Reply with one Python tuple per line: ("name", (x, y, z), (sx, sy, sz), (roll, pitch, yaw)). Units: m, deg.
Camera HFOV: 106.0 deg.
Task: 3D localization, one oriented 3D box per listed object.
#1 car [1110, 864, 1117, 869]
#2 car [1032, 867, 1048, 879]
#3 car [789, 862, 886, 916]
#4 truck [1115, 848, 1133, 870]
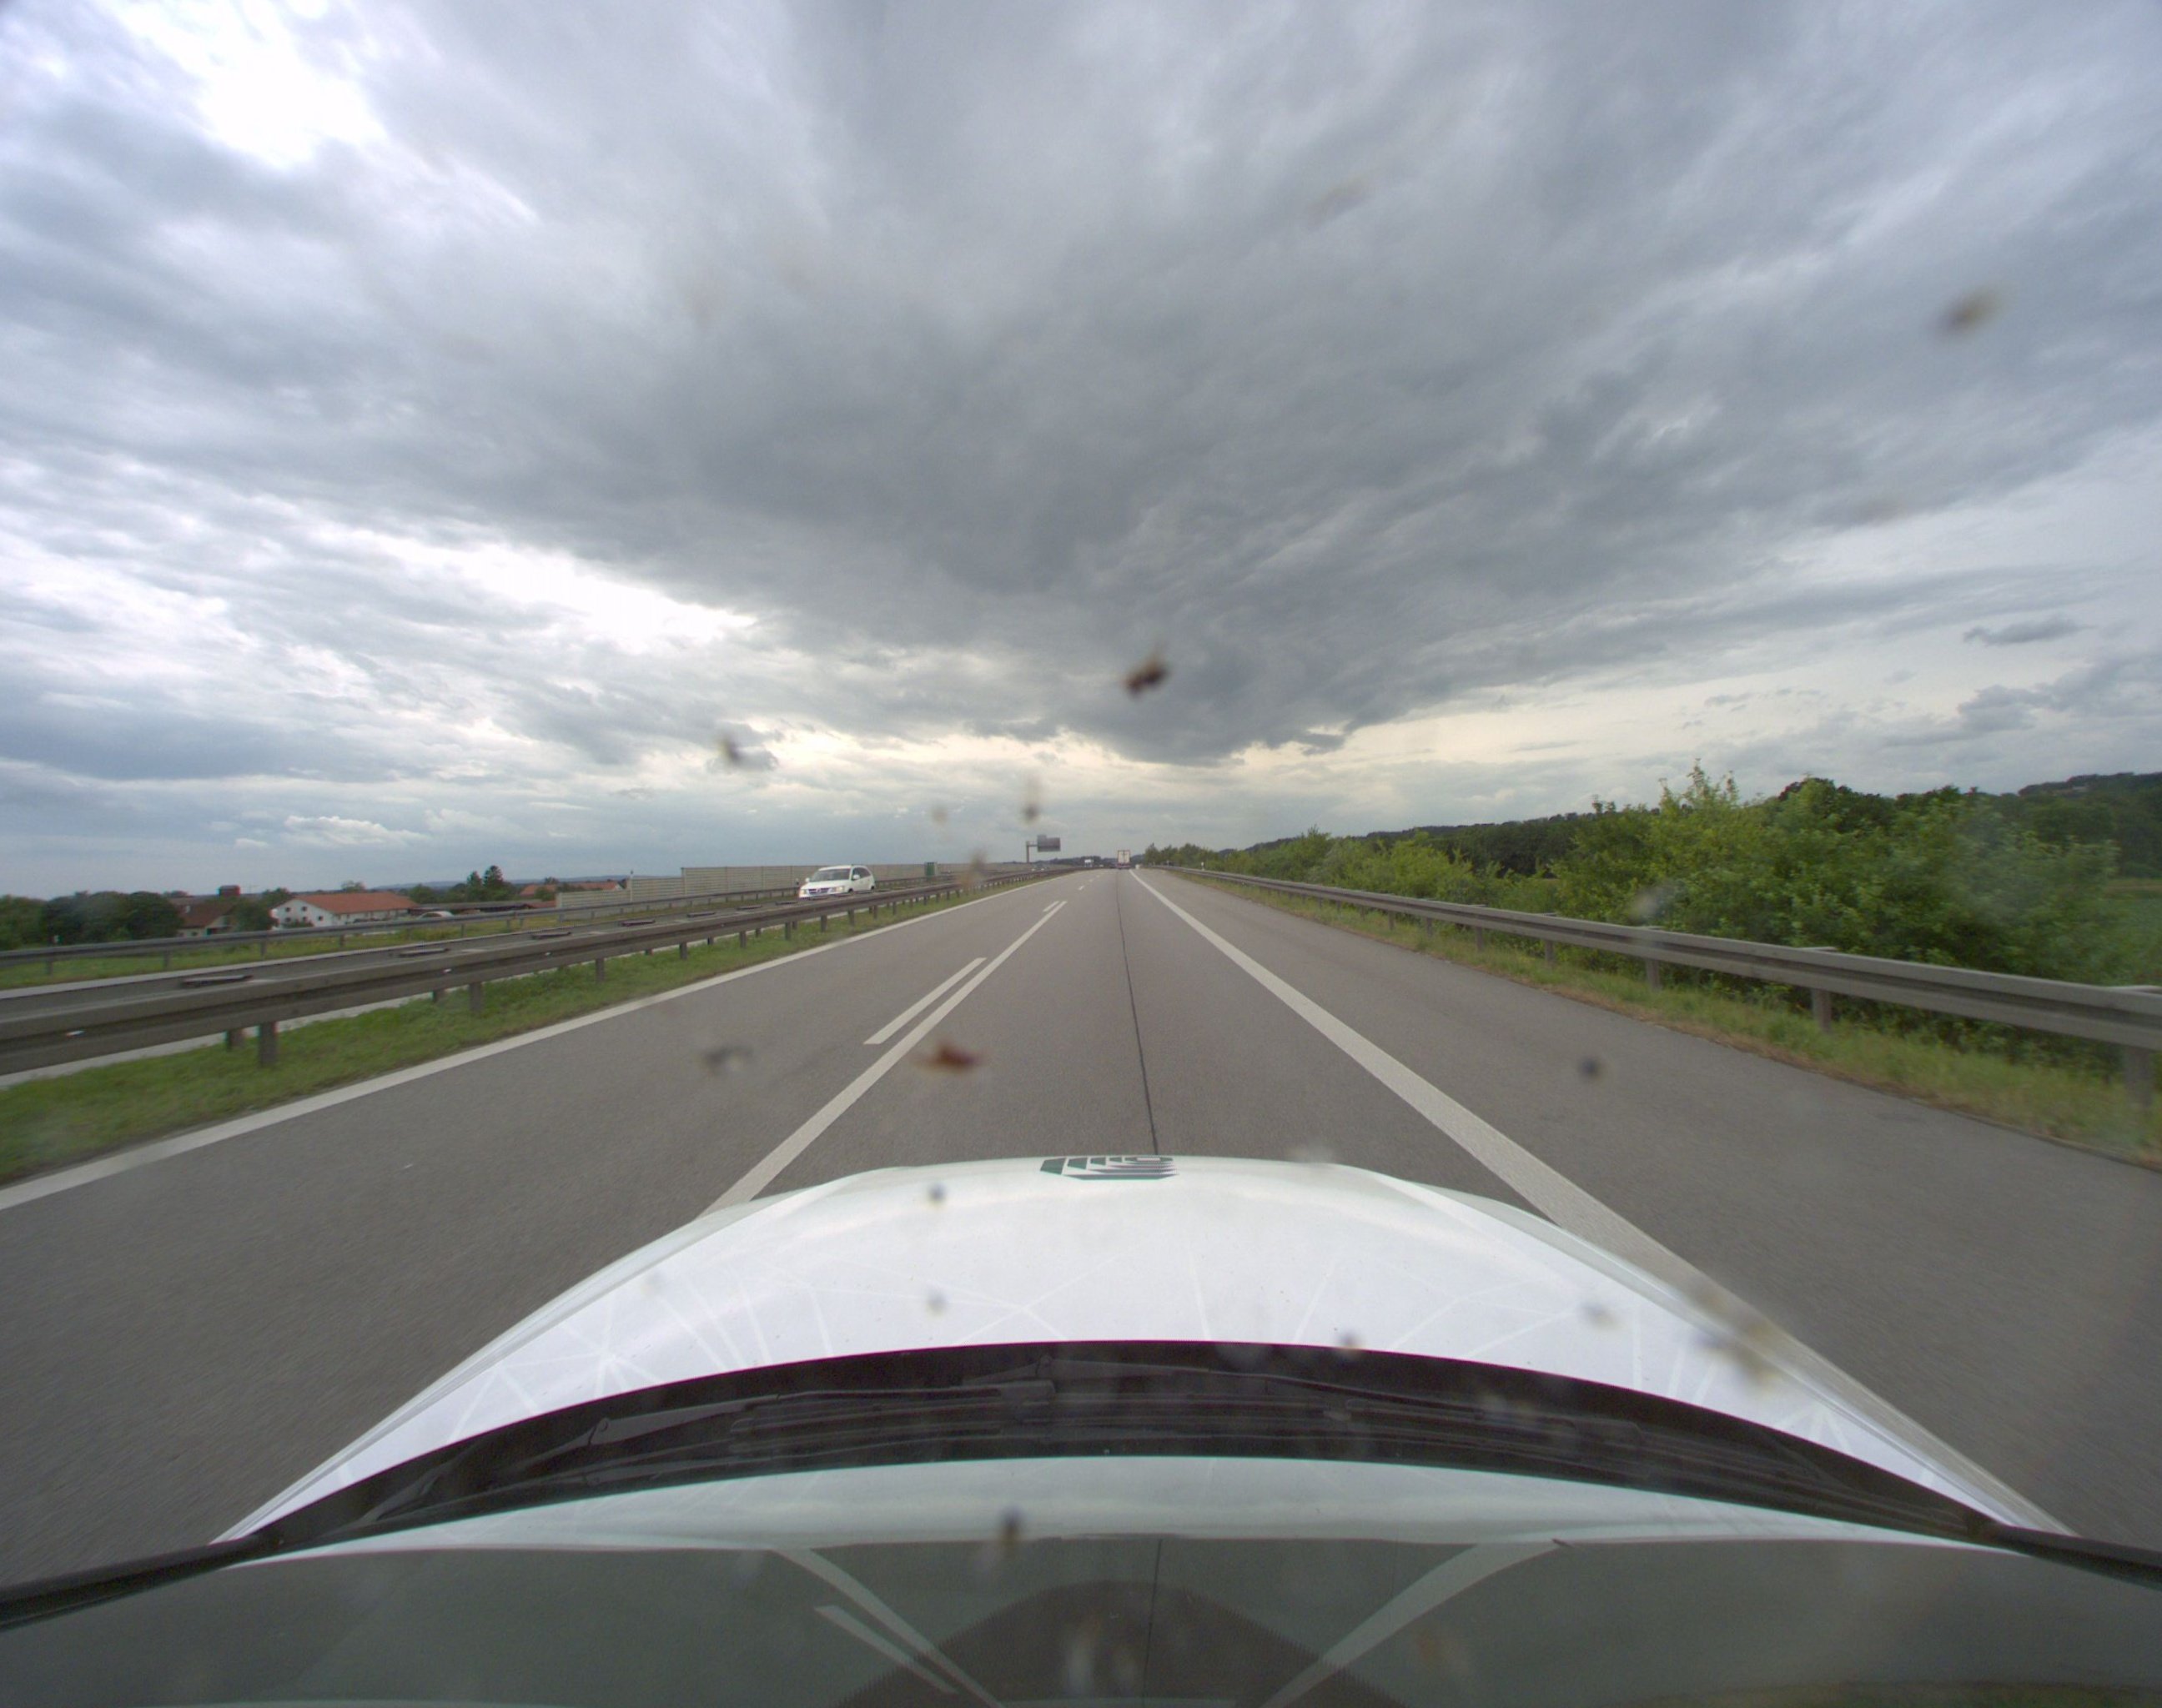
("car", (9.919, 3.882, 249.362), (1.987, 1.420, 4.000), (-1, 0, 1))
("car", (-5.803, 2.680, 115.547), (1.780, 1.451, 5.176), (-1, 0, 2))
("car", (-9.427, 1.293, 32.011), (2.062, 1.746, 4.963), (-4, 0, 2))
("truck", (9.515, 1.269, 179.476), (3.657, 4.413, 16.353), (-2, -2, 3))
